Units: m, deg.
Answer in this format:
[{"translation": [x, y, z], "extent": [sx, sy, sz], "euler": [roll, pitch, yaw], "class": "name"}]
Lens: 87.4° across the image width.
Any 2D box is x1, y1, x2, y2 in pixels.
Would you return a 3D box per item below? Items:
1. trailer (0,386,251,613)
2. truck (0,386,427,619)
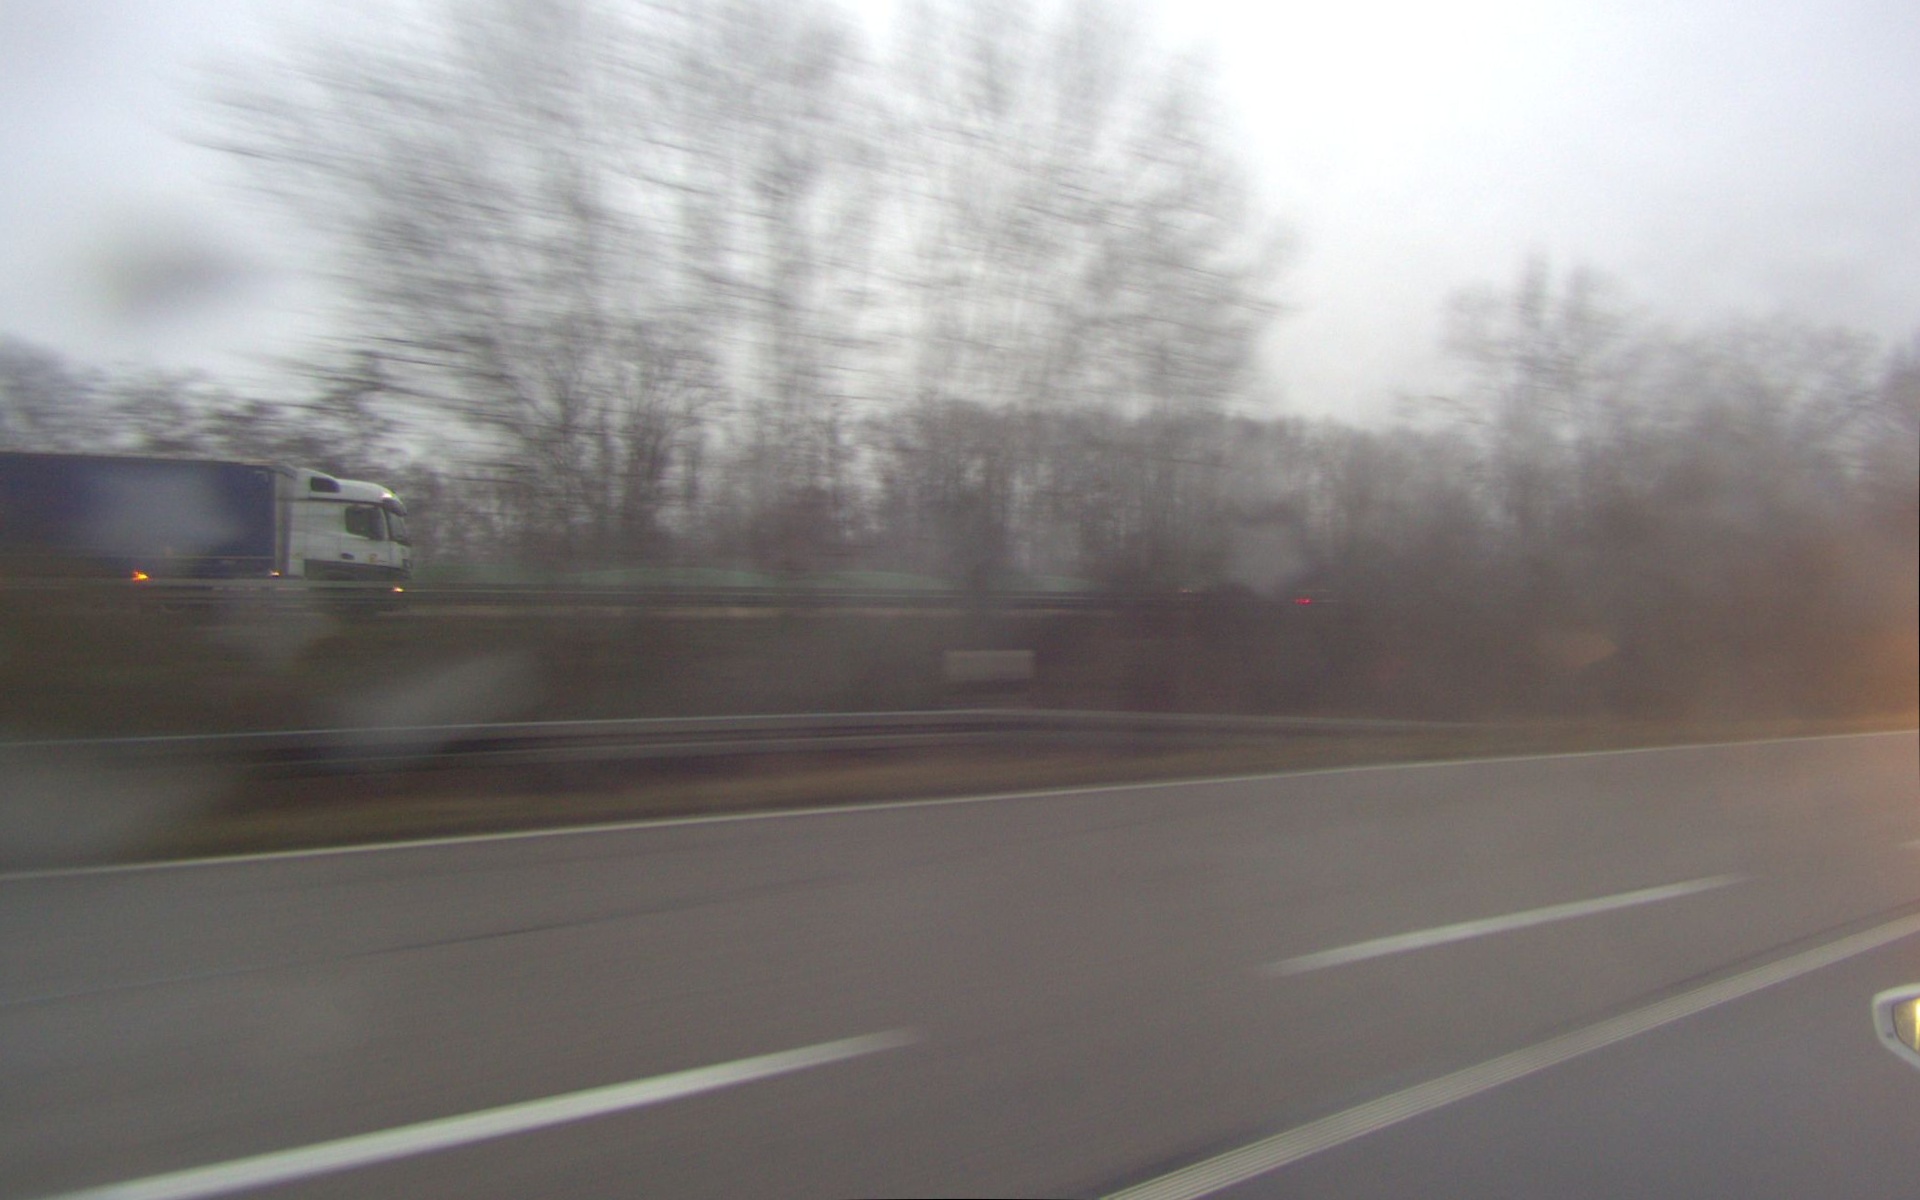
[{"translation": [-25.568, -2.533, 24.342], "extent": [13.034, 5.170, 3.297], "euler": [3, -2, -21], "class": "trailer"}, {"translation": [-19.310, -2.243, 26.839], "extent": [8.395, 5.197, 3.269], "euler": [3, -2, -22], "class": "truck"}]
